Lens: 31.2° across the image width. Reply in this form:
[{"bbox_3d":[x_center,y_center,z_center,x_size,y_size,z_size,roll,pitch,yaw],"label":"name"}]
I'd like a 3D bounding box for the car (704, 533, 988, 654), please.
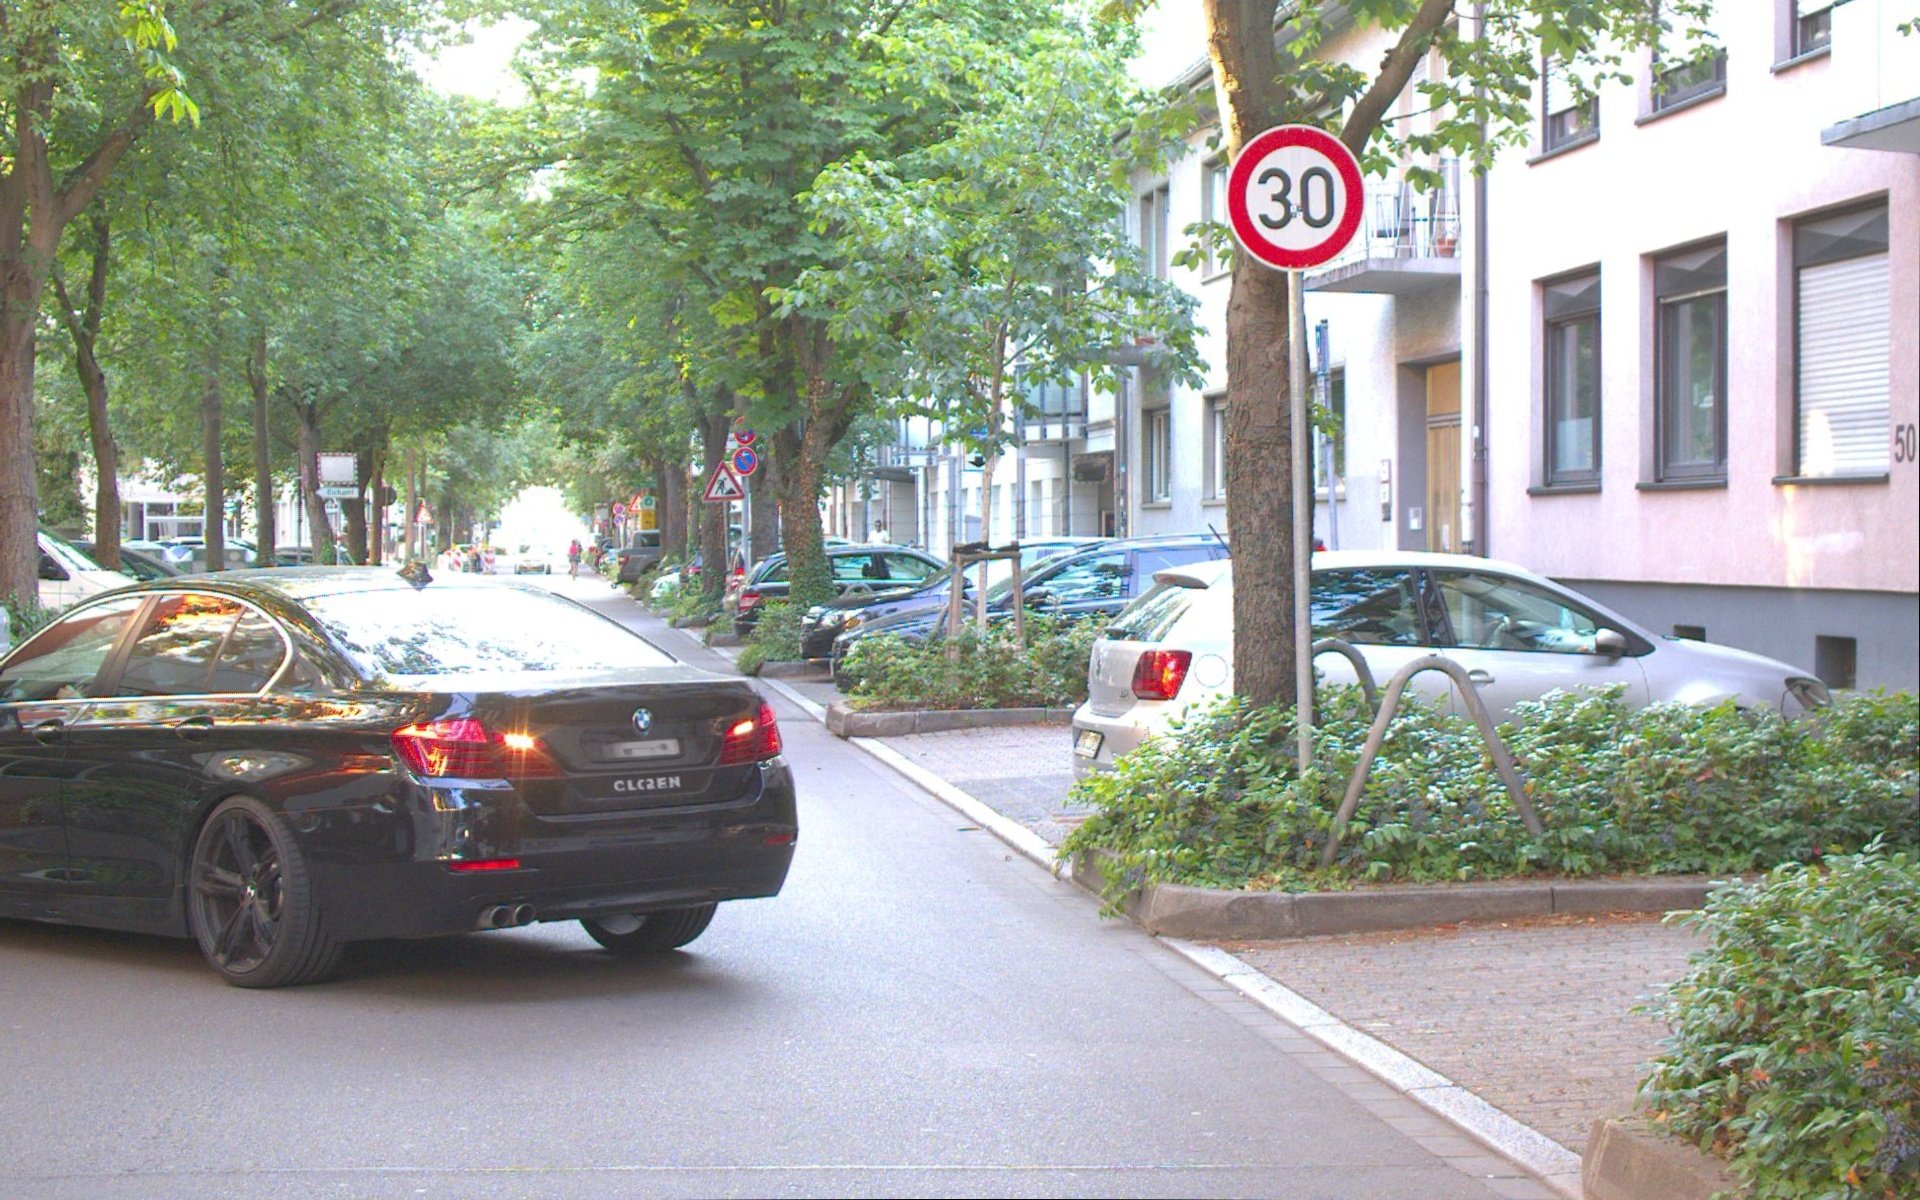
[{"bbox_3d":[-1.561,-0.104,46.417,3.656,1.531,1.566,-1,1,-8],"label":"car"}]

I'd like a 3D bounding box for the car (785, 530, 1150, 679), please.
[{"bbox_3d":[0.057,0.027,37.719,3.791,1.524,1.566,-1,1,-8],"label":"car"}]

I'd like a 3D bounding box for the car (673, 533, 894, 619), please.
[{"bbox_3d":[-3.056,-0.427,59.354,3.656,1.388,1.566,-1,1,-8],"label":"car"}]

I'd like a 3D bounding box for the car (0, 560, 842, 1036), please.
[{"bbox_3d":[-2.668,0.591,13.005,1.763,1.445,4.665,-1,2,-44],"label":"car"}]

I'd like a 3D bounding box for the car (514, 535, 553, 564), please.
[{"bbox_3d":[-21.754,-2.596,175.258,1.894,1.470,4.001,0,1,-6],"label":"car"}]

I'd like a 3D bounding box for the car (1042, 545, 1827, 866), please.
[{"bbox_3d":[2.364,0.490,17.534,3.656,1.474,1.566,-1,1,-8],"label":"car"}]

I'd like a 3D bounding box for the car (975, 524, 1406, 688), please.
[{"bbox_3d":[2.076,0.033,31.391,3.656,1.388,1.566,-1,1,-8],"label":"car"}]

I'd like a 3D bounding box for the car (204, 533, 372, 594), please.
[{"bbox_3d":[-16.964,-0.920,86.913,4.020,1.466,1.640,1,1,-7],"label":"car"}]

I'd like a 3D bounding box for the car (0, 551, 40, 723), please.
[{"bbox_3d":[-10.310,0.289,30.146,4.131,1.466,1.640,1,1,-7],"label":"car"}]

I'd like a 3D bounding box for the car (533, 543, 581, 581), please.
[{"bbox_3d":[-16.859,-1.609,143.721,1.993,1.546,4.001,0,1,-7],"label":"car"}]

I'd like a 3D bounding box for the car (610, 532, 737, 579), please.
[{"bbox_3d":[-8.530,-1.336,102.176,3.656,1.388,1.566,0,1,-8],"label":"car"}]

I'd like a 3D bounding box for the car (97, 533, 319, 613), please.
[{"bbox_3d":[-14.421,-0.518,66.063,4.020,1.466,1.640,1,1,-7],"label":"car"}]

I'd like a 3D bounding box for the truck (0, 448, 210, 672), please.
[{"bbox_3d":[-11.076,-0.491,38.568,4.998,2.432,1.916,1,2,-5],"label":"truck"}]
